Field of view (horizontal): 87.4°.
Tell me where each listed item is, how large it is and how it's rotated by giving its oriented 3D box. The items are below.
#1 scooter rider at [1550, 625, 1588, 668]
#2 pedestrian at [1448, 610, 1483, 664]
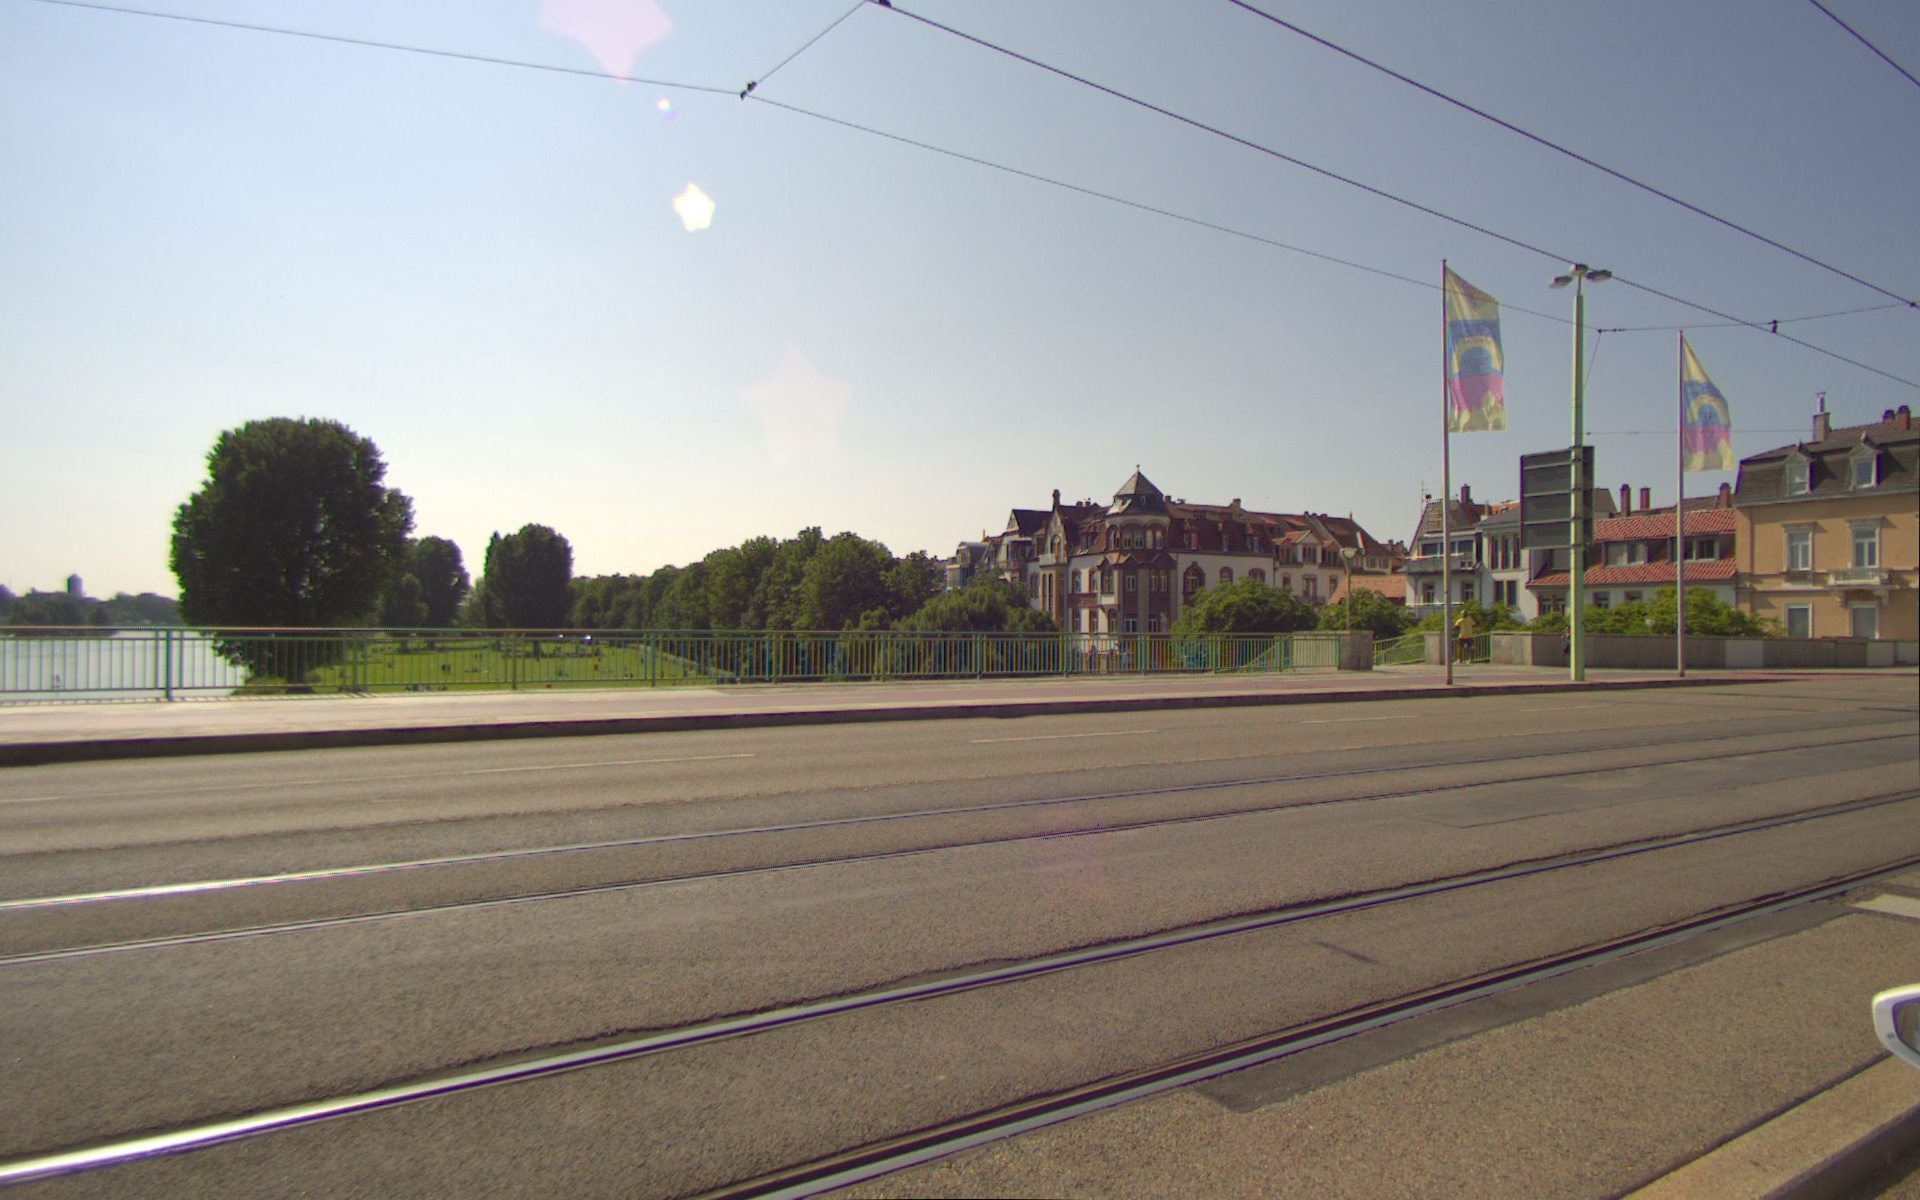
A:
[{"bbox_3d":[19.989,1.522,32.976,0.589,1.333,0.767,2,3,-18],"label":"scooter rider"},{"bbox_3d":[17.317,1.269,34.401,0.789,1.804,0.744,1,-2,-20],"label":"pedestrian"}]
